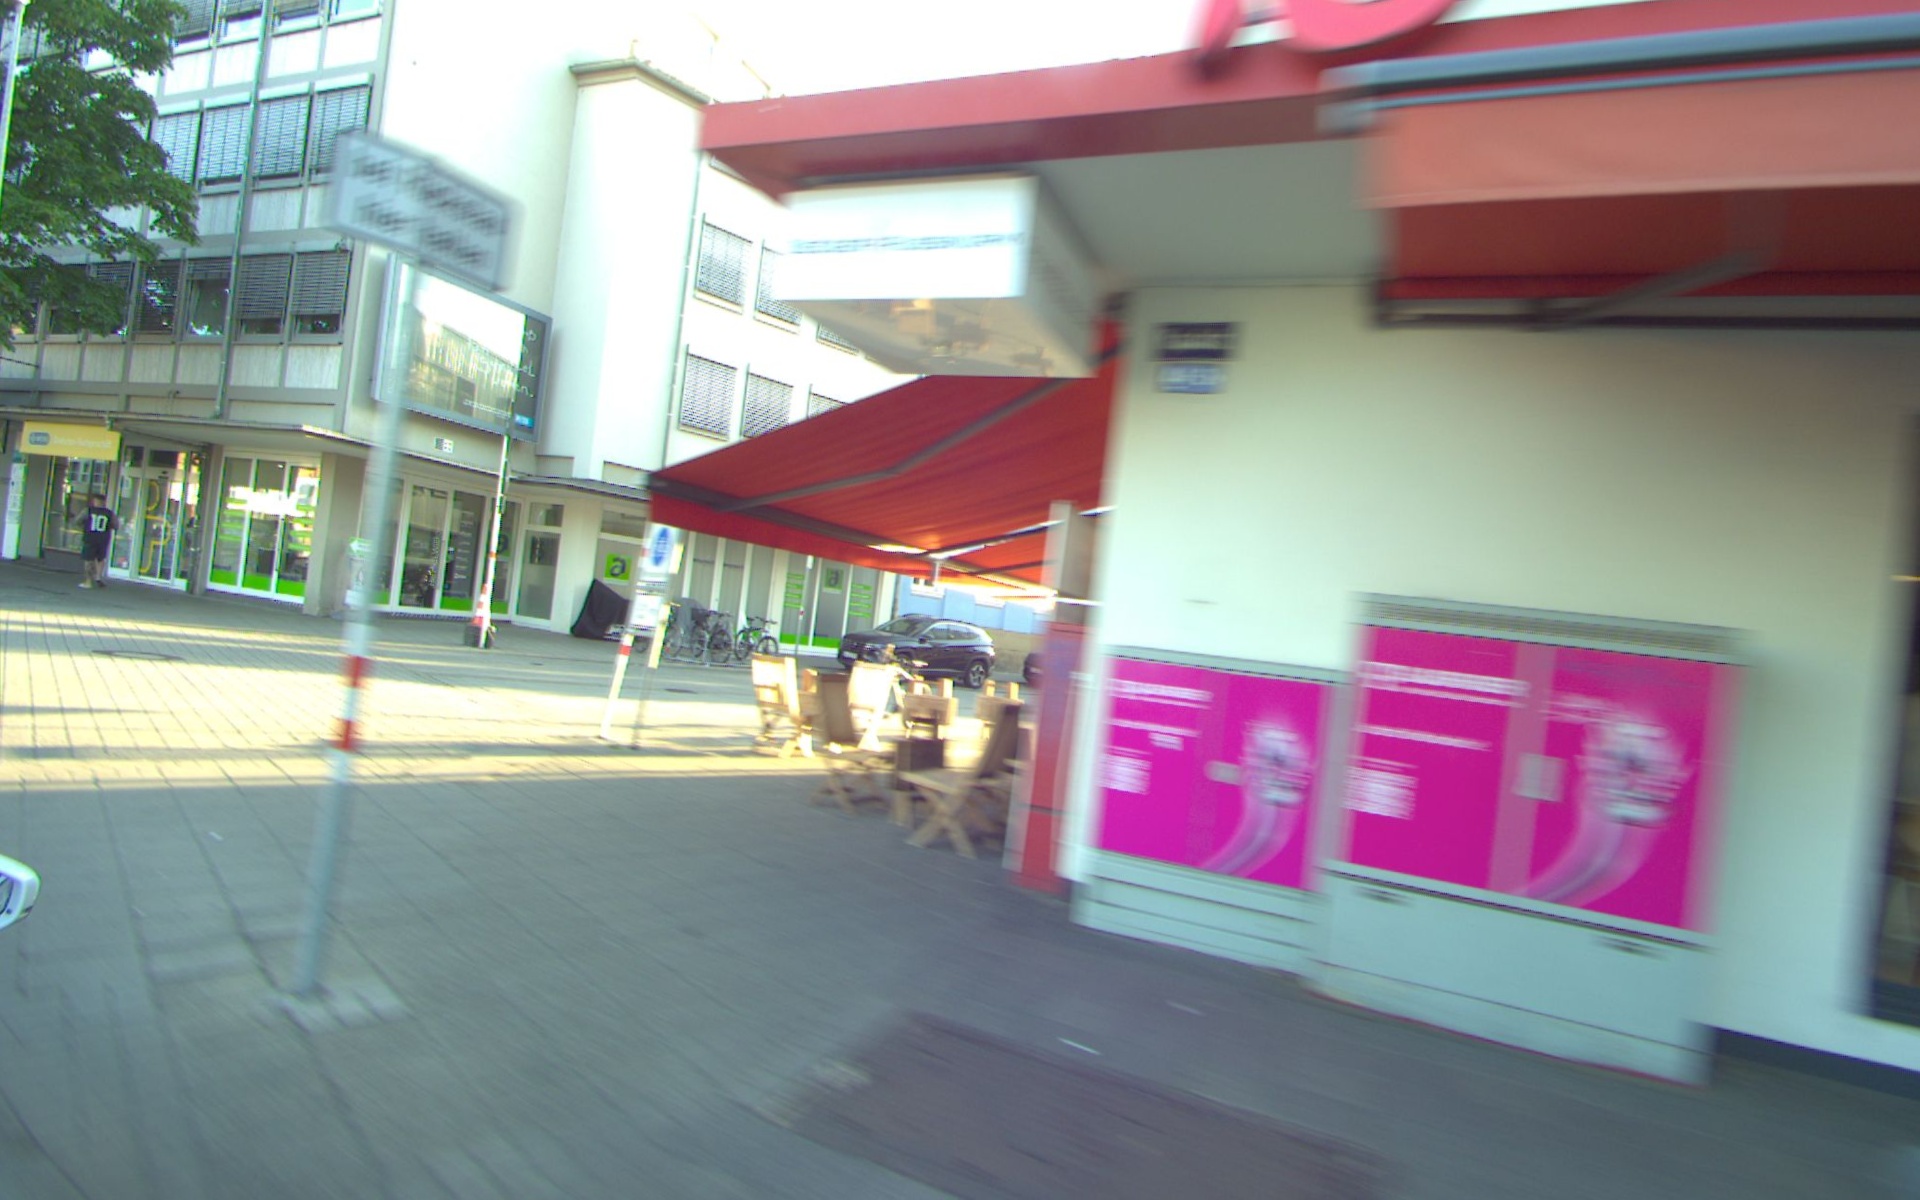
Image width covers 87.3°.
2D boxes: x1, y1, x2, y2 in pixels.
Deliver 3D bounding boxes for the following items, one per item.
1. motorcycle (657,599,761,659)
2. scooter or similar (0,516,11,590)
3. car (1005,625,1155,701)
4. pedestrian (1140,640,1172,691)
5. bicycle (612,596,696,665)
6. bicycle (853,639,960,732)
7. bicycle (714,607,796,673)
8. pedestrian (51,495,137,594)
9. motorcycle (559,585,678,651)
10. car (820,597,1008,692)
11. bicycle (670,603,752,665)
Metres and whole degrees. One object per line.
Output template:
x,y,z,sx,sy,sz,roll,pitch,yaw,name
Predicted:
-5.991,0.716,24.147,0.730,1.172,2.262,7,-2,45,motorcycle
-16.637,-0.845,16.667,1.204,1.231,0.293,6,-2,-21,scooter or similar
3.642,1.922,30.117,4.235,1.641,1.976,9,2,-42,car
7.096,2.383,36.414,0.663,1.730,0.710,7,0,44,pedestrian
-6.314,0.607,20.691,1.978,1.126,0.583,9,1,41,bicycle
-0.718,1.211,14.163,0.526,1.172,1.910,6,-2,26,bicycle
-4.551,0.865,22.274,1.892,1.126,0.626,10,0,41,bicycle
-16.357,-1.042,19.005,0.878,1.702,0.749,6,-2,24,pedestrian
-7.592,0.422,22.444,2.282,1.182,0.800,9,-2,-45,motorcycle
-1.067,1.160,25.272,4.415,1.772,1.895,10,-1,-44,car
-5.369,0.717,21.648,1.893,1.125,0.626,5,-3,41,bicycle
